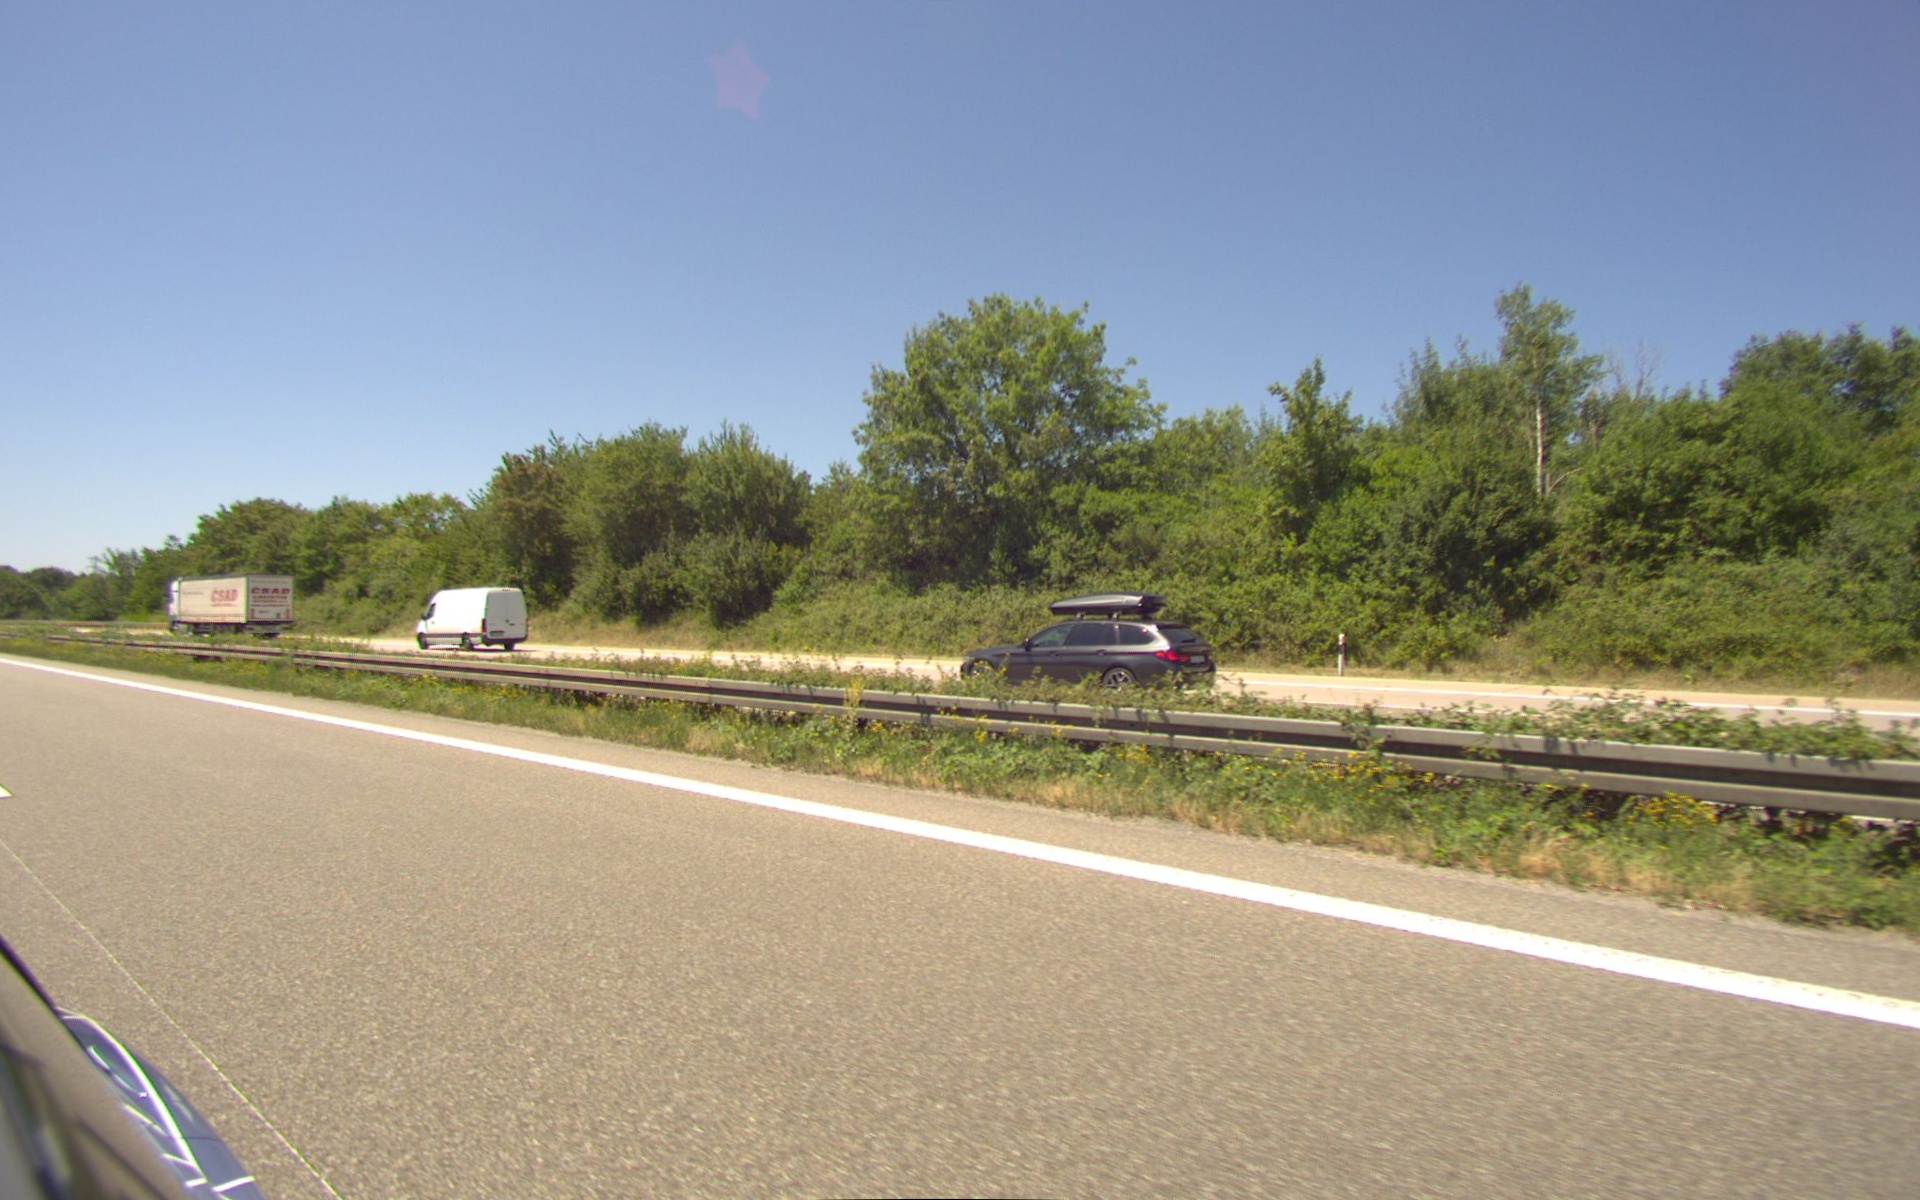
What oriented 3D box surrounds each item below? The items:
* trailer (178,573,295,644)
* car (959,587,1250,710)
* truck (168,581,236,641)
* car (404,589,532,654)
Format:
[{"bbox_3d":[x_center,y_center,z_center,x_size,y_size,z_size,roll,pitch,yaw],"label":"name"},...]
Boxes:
[{"bbox_3d":[-46.941,0.597,65.380,13.545,4.216,2.679,-1,-2,39],"label":"trailer"},{"bbox_3d":[2.451,0.806,18.081,4.952,1.920,1.808,-1,-1,40],"label":"car"},{"bbox_3d":[-52.208,0.788,69.690,4.439,3.996,2.675,-1,-2,40],"label":"truck"},{"bbox_3d":[-21.440,0.951,43.912,7.386,2.596,2.206,-1,-2,40],"label":"car"}]
